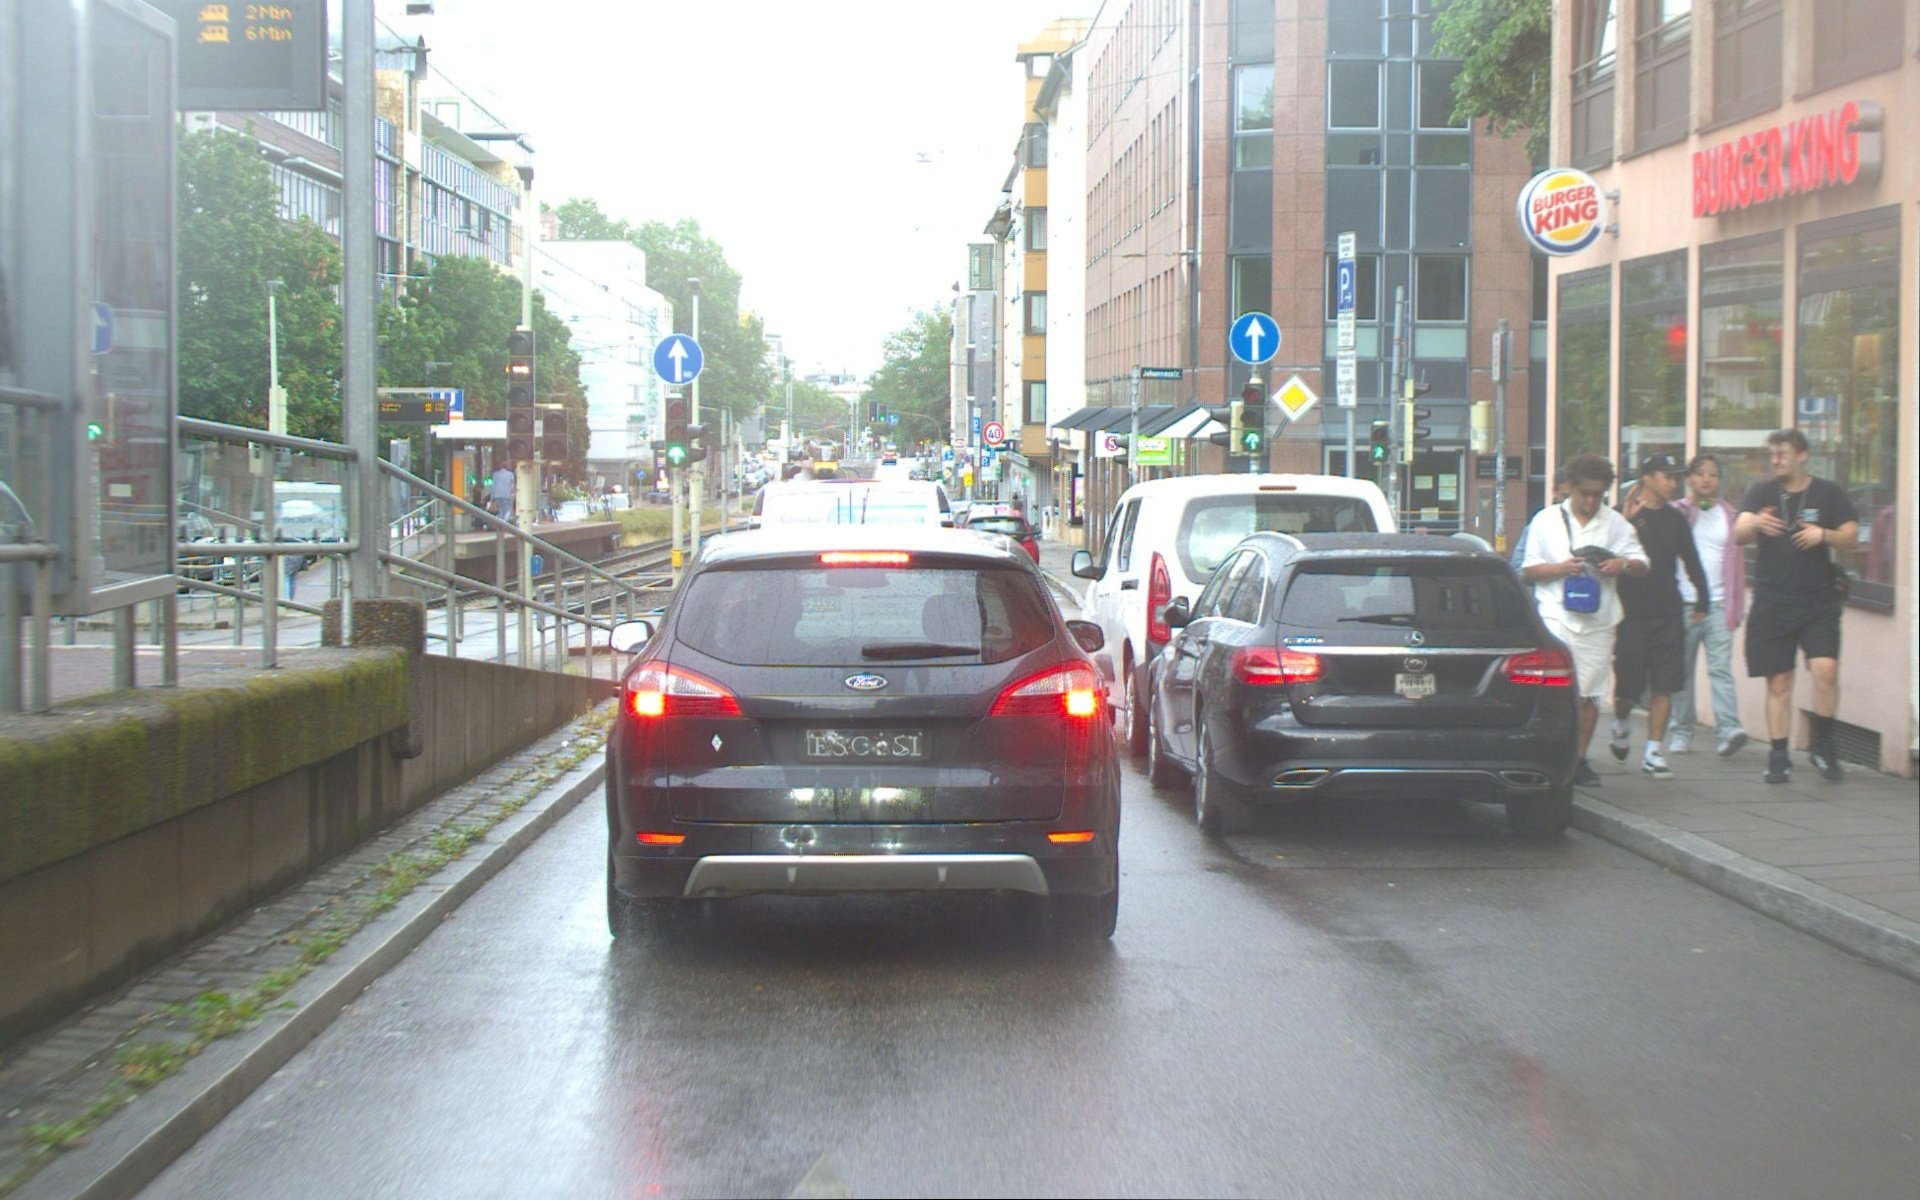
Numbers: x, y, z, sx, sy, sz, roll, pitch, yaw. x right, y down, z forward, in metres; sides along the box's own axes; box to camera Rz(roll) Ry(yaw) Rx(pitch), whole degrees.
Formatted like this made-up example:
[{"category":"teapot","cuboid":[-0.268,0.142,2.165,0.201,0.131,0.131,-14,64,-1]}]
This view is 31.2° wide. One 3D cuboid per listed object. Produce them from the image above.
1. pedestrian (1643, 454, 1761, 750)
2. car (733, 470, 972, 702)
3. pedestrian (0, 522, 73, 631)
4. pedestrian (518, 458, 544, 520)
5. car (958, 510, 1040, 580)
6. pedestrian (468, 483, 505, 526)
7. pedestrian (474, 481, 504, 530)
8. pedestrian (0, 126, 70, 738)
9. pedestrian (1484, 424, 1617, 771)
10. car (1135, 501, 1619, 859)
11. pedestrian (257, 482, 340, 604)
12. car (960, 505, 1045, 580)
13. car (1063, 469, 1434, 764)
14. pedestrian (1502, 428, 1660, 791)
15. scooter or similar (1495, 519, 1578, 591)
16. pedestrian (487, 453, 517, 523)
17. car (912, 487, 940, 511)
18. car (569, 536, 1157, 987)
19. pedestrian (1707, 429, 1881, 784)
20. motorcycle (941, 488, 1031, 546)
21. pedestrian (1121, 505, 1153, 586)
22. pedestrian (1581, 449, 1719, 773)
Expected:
[{"category":"pedestrian","cuboid":[4.345,0.008,20.141,0.576,1.708,0.477,-1,1,0]},{"category":"car","cuboid":[-0.885,-0.157,29.864,1.906,1.858,4.574,0,1,-1]},{"category":"pedestrian","cuboid":[-14.359,-0.369,53.290,0.880,1.626,0.807,1,4,18]},{"category":"pedestrian","cuboid":[-12.415,-3.207,99.499,0.655,1.795,0.850,0,2,-3]},{"category":"car","cuboid":[0.848,-1.239,77.189,1.698,1.457,3.867,-2,1,-1]},{"category":"pedestrian","cuboid":[-12.459,-2.504,90.481,0.892,1.119,0.850,-1,2,-12]},{"category":"pedestrian","cuboid":[-12.121,-2.430,88.444,0.692,1.245,0.884,0,2,-3]},{"category":"pedestrian","cuboid":[-2.722,-0.428,9.049,0.583,1.552,0.701,-1,1,-3]},{"category":"pedestrian","cuboid":[3.361,-0.020,19.587,0.651,1.941,0.533,-1,1,0]},{"category":"car","cuboid":[1.994,0.318,17.703,1.906,1.610,4.414,0,1,-1]},{"category":"pedestrian","cuboid":[-11.082,-0.961,57.629,1.116,2.007,1.383,-1,1,-1]},{"category":"car","cuboid":[0.893,-1.216,72.624,1.698,1.474,3.867,-2,1,0]},{"category":"car","cuboid":[1.842,0.052,23.449,1.906,1.800,4.778,0,1,-3]},{"category":"pedestrian","cuboid":[3.228,0.043,17.912,0.695,1.848,0.652,-1,1,0]},{"category":"scooter or similar","cuboid":[9.928,-0.775,59.199,1.374,1.223,0.325,-1,1,2]},{"category":"pedestrian","cuboid":[-11.373,-2.778,85.324,0.655,1.705,0.850,0,2,-3]},{"category":"car","cuboid":[-2.412,-7.140,243.300,1.906,1.627,4.574,0,1,0]},{"category":"car","cuboid":[-0.332,0.494,12.897,1.906,1.457,3.445,0,1,-1]},{"category":"pedestrian","cuboid":[4.347,0.029,17.953,0.756,1.813,0.588,-1,1,0]},{"category":"motorcycle","cuboid":[0.644,-2.054,85.162,2.085,1.402,0.798,0,1,18]},{"category":"pedestrian","cuboid":[3.655,-1.128,70.910,0.601,1.653,0.625,-1,1,-1]},{"category":"pedestrian","cuboid":[3.703,0.053,18.485,0.610,1.708,0.581,-1,1,0]}]
